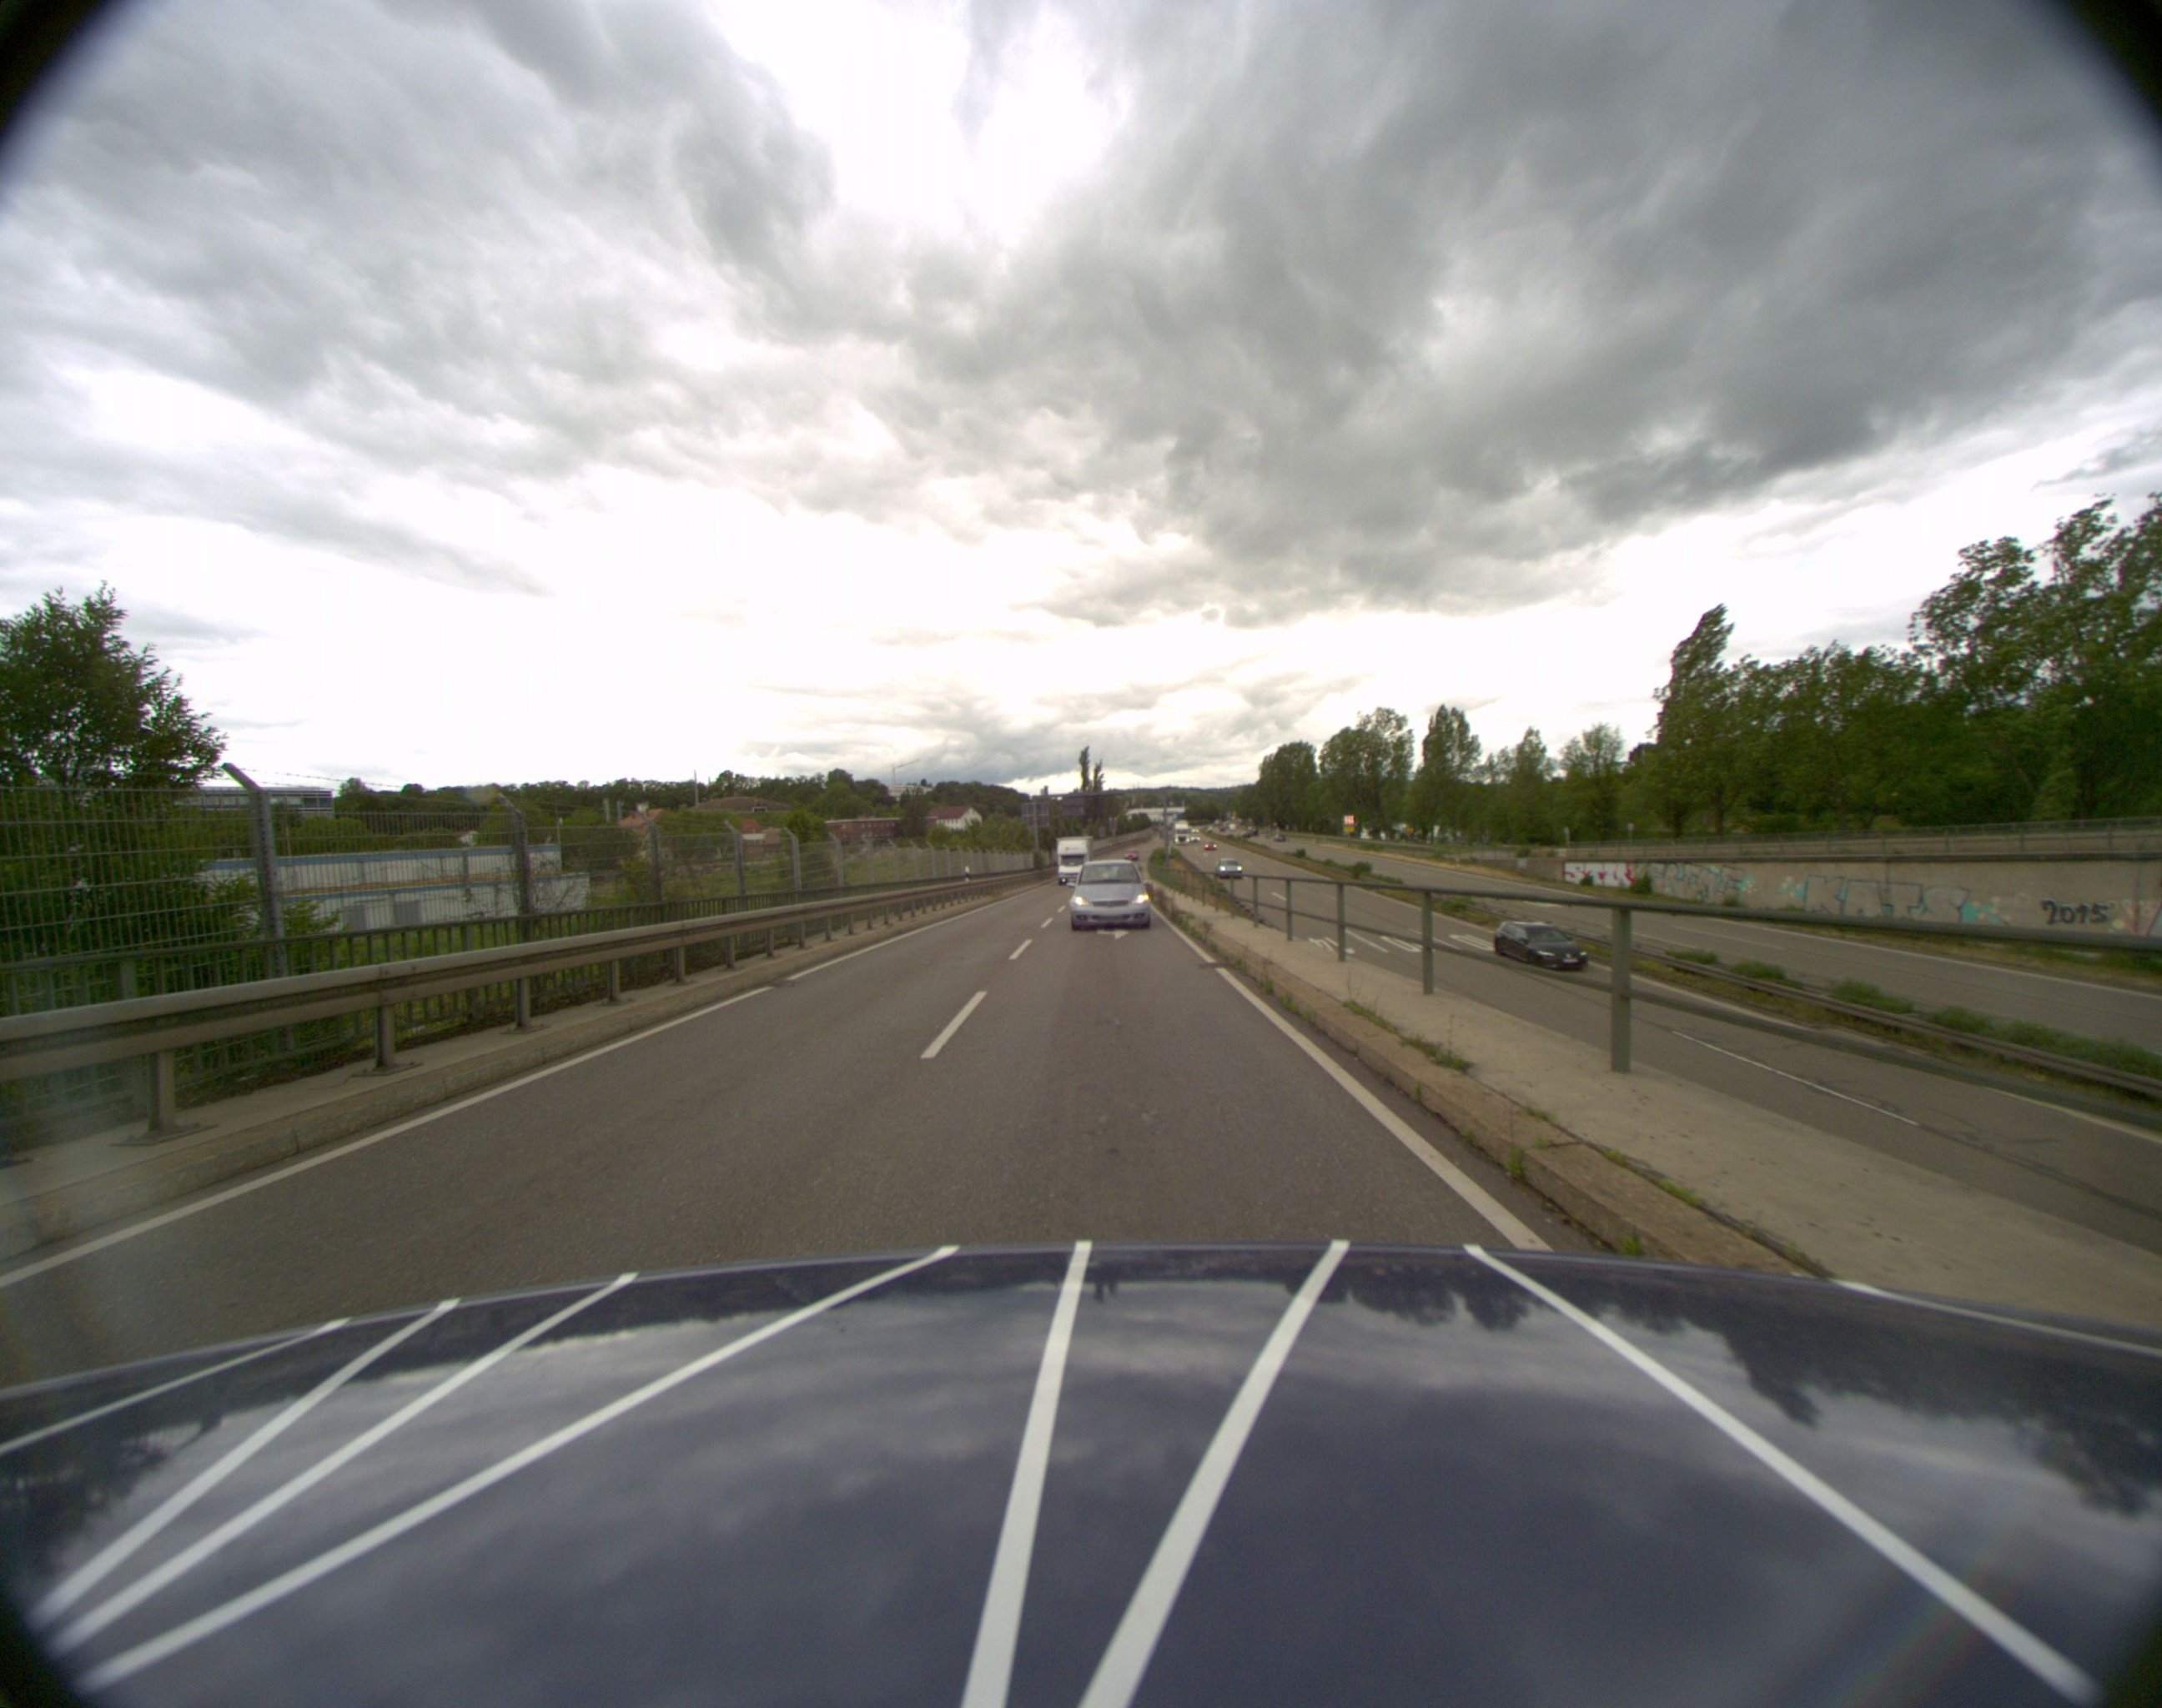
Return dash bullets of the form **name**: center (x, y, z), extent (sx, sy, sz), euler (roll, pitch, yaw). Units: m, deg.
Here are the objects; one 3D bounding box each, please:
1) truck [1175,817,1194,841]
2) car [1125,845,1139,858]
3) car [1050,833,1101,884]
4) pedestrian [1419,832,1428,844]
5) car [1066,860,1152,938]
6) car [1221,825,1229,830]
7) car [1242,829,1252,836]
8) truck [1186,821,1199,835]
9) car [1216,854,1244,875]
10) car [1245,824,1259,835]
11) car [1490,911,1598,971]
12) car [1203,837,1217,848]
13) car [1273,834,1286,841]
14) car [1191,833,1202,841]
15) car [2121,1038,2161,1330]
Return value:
- **truck**: center (19.389, -4.745, 142.530), extent (2.758, 4.229, 6.695), euler (-1, 3, 2)
- **car**: center (6.542, -0.277, 97.453), extent (1.780, 1.578, 4.001), euler (-2, 0, 4)
- **car**: center (-0.260, 0.244, 54.070), extent (2.664, 3.310, 7.092), euler (-2, 1, 6)
- **pedestrian**: center (51.685, -2.455, 114.755), extent (0.831, 1.696, 1.077), euler (-3, 4, 3)
- **car**: center (0.689, 0.983, 18.246), extent (1.780, 1.578, 4.000), euler (-2, 0, 2)
- **car**: center (48.759, -8.941, 257.142), extent (1.903, 1.641, 4.331), euler (-1, 3, 3)
- **car**: center (37.961, -4.934, 173.445), extent (1.668, 1.493, 3.856), euler (-1, 4, 3)
- **truck**: center (37.629, -8.721, 256.709), extent (3.179, 4.501, 11.122), euler (3, 3, 4)
- **car**: center (13.534, 0.933, 69.284), extent (1.844, 1.789, 4.280), euler (-2, 0, 3)
- **car**: center (42.593, -6.031, 188.962), extent (2.249, 2.533, 6.111), euler (-2, 3, 2)
- **car**: center (17.751, 3.273, 29.363), extent (1.753, 1.561, 4.218), euler (-2, 3, 3)
- **car**: center (20.187, -1.787, 118.974), extent (1.756, 1.433, 4.162), euler (-2, 5, 4)
- **car**: center (38.759, -3.245, 148.502), extent (1.715, 1.368, 4.108), euler (-1, 3, 2)
- **car**: center (23.931, -3.531, 157.549), extent (1.919, 1.411, 4.275), euler (-2, 4, 4)
- **car**: center (13.251, 3.892, 4.942), extent (2.367, 3.223, 7.656), euler (0, 3, 1)
